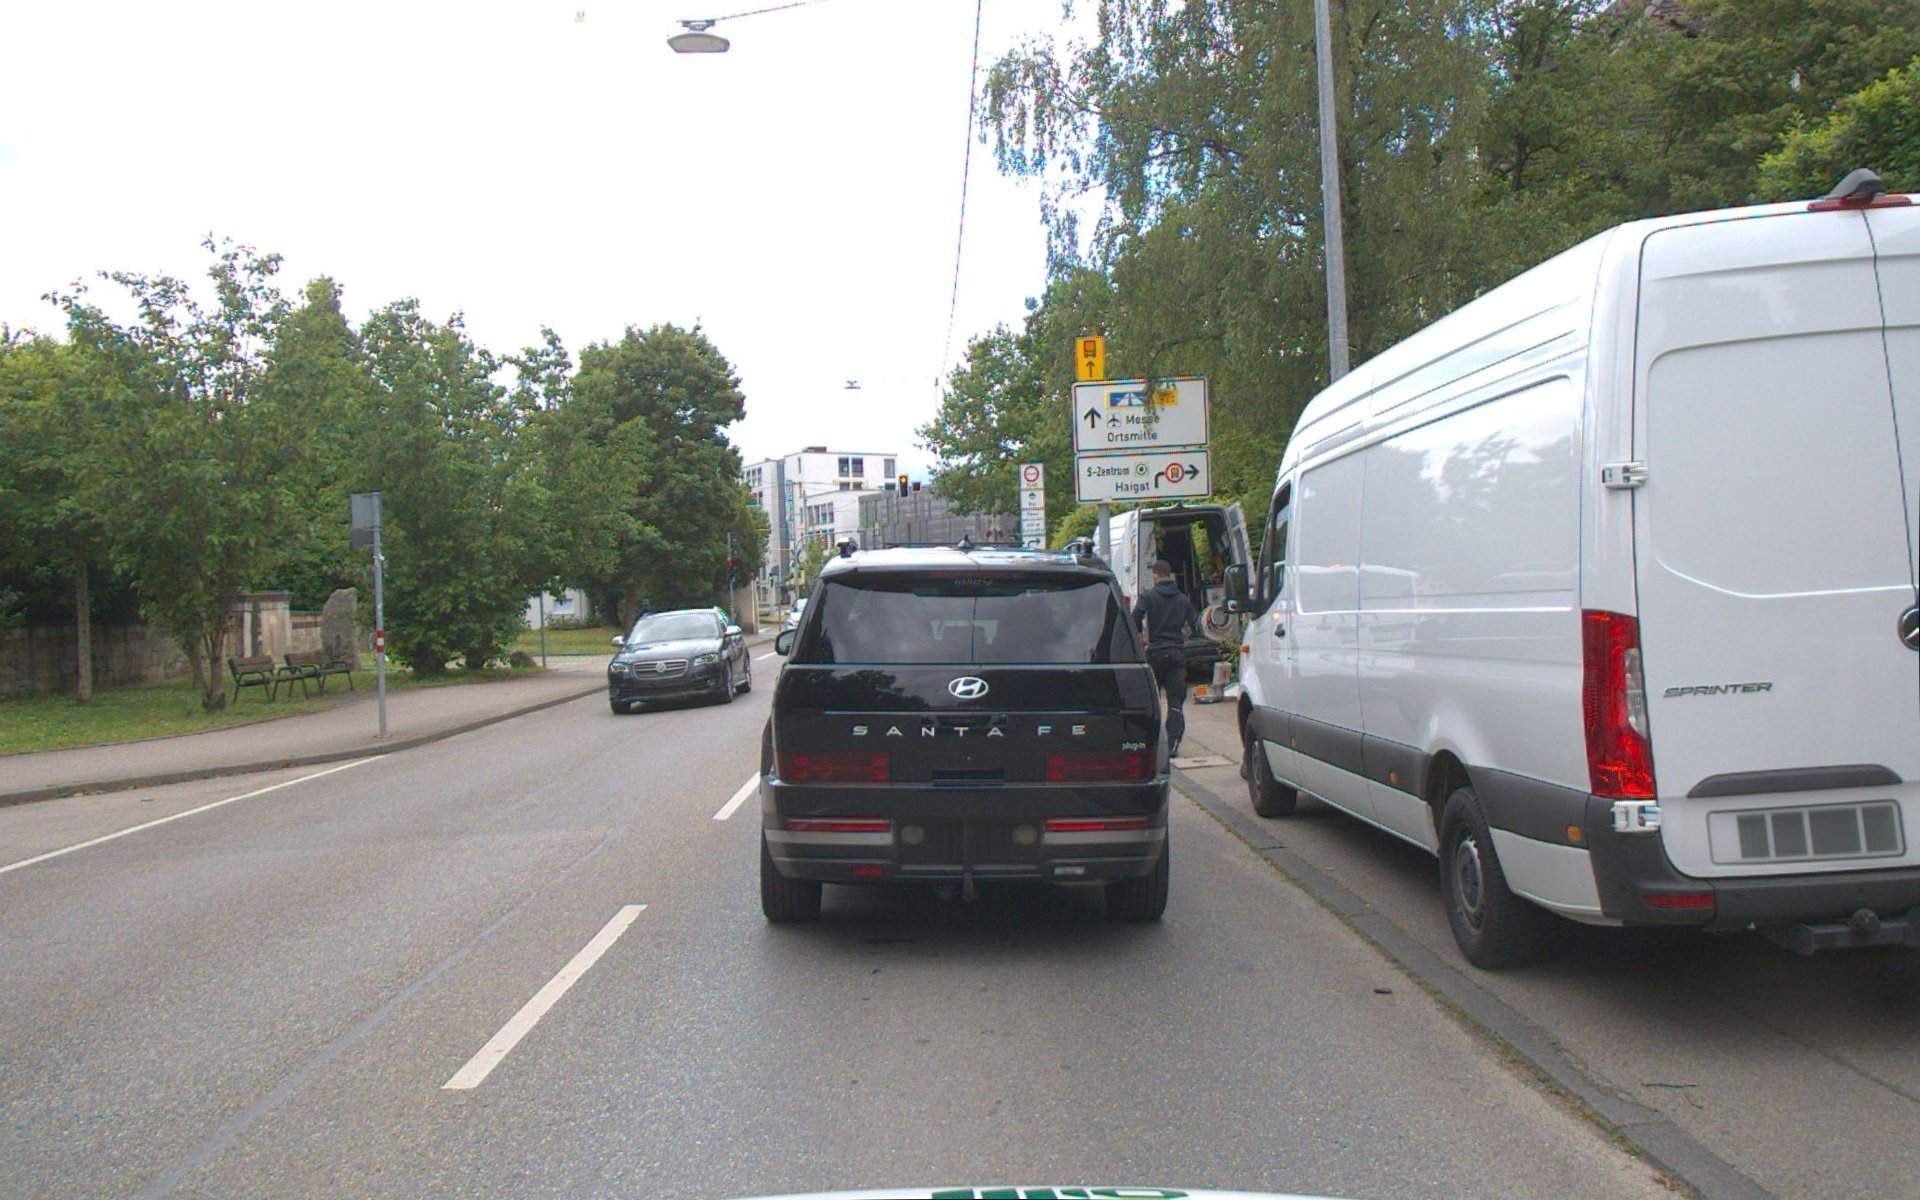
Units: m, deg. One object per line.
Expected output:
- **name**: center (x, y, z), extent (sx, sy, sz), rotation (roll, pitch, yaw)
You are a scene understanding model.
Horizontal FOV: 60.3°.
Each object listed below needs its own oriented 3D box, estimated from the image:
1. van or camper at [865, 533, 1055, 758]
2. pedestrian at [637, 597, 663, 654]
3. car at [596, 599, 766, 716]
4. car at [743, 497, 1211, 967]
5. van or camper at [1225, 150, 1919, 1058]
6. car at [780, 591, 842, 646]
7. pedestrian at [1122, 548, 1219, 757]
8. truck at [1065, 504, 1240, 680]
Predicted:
- **van or camper**: center (-0.029, 0.418, 17.493), extent (1.719, 2.049, 3.999), rotation (-2, 0, -1)
- **pedestrian**: center (-9.680, 0.783, 51.699), extent (0.724, 1.745, 0.791), rotation (-2, 0, -8)
- **car**: center (-4.102, 0.795, 24.956), extent (1.822, 1.478, 4.110), rotation (-4, 0, -1)
- **car**: center (0.041, 0.513, 8.549), extent (1.851, 1.851, 3.999), rotation (0, 0, -1)
- **van or camper**: center (2.893, -0.020, 8.188), extent (1.953, 2.665, 6.540), rotation (-2, 0, -1)
- **car**: center (-5.007, 0.596, 56.000), extent (1.749, 1.682, 4.118), rotation (-4, 0, -2)
- **pedestrian**: center (1.905, 0.466, 15.074), extent (0.741, 1.828, 0.873), rotation (-2, 0, 2)
- **truck**: center (3.130, -0.112, 28.091), extent (1.904, 2.606, 5.212), rotation (-3, 0, -4)
